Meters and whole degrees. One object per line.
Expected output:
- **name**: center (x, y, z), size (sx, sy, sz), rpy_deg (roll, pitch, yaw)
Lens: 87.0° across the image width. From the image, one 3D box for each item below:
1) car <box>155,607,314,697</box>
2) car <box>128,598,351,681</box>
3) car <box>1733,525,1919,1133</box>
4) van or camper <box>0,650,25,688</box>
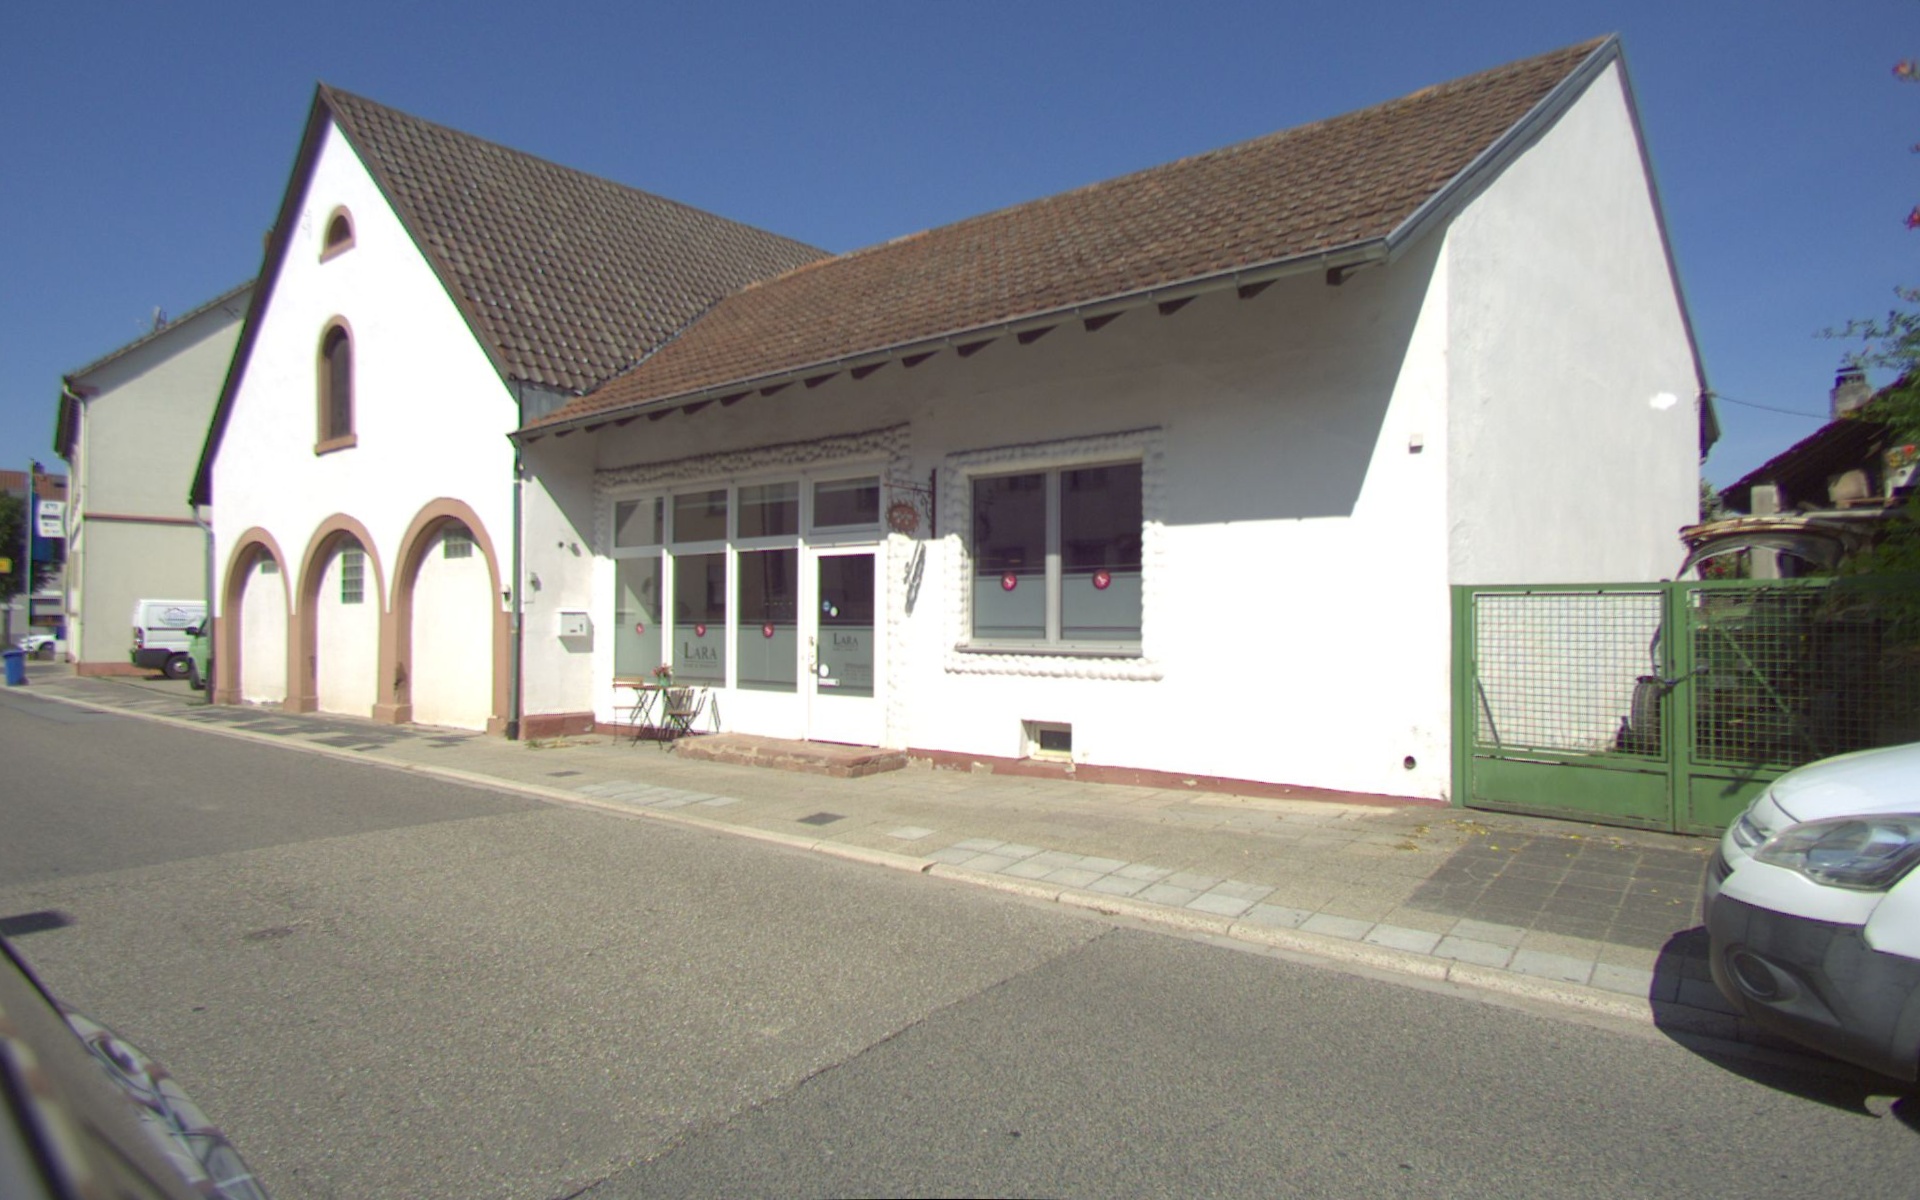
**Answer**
- **car**: center (-17.569, 1.197, 24.421), size (4.664, 1.979, 1.974), rpy_deg (-1, -2, 39)
- **car**: center (-20.989, 1.109, 29.624), size (5.113, 2.213, 2.125), rpy_deg (1, -2, -42)
- **car**: center (4.604, 0.606, 2.315), size (4.426, 1.660, 1.836), rpy_deg (-1, -2, 40)
- **van or camper**: center (-24.874, 1.807, 26.461), size (0.600, 0.959, 0.583), rpy_deg (-2, -2, 44)
